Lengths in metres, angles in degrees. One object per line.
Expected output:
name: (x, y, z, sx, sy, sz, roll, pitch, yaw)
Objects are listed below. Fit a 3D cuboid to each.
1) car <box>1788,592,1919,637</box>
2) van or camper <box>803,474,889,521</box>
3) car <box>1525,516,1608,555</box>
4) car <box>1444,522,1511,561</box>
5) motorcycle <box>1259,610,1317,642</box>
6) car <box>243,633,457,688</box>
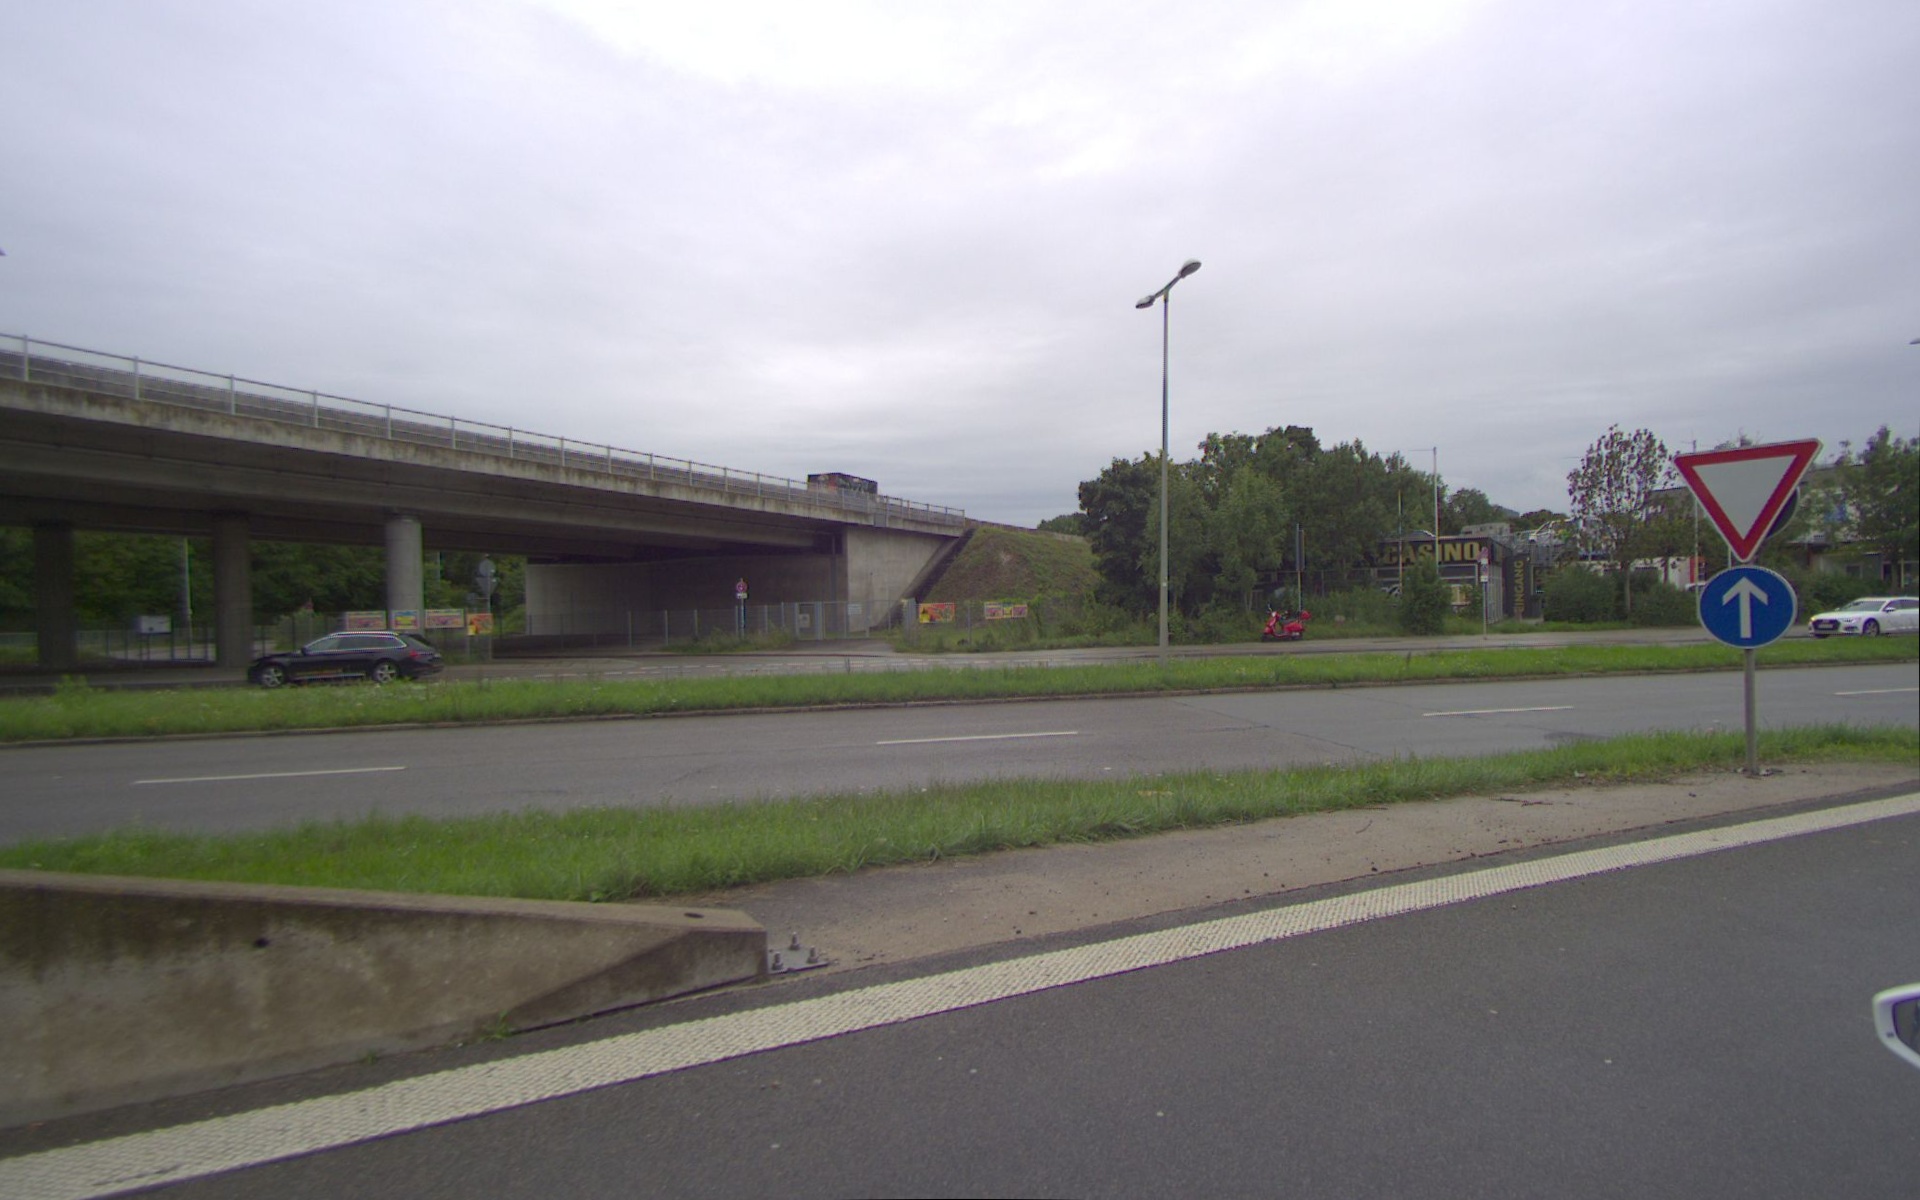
car: (34.258, 0.533, 37.870, 5.029, 1.593, 1.996, -1, 0, -12)
van or camper: (-7.393, -6.693, 66.111, 2.597, 2.275, 6.032, -1, -1, 30)
car: (40.186, -4.222, 66.721, 2.097, 2.040, 4.790, 1, -3, -11)
car: (39.693, -4.451, 77.187, 2.097, 2.400, 4.790, 1, -3, -11)
motorcycle: (12.909, 1.011, 39.535, 2.158, 1.192, 0.534, -1, 0, -13)
car: (-16.999, 1.665, 28.231, 4.731, 1.415, 1.972, 0, -1, -11)
